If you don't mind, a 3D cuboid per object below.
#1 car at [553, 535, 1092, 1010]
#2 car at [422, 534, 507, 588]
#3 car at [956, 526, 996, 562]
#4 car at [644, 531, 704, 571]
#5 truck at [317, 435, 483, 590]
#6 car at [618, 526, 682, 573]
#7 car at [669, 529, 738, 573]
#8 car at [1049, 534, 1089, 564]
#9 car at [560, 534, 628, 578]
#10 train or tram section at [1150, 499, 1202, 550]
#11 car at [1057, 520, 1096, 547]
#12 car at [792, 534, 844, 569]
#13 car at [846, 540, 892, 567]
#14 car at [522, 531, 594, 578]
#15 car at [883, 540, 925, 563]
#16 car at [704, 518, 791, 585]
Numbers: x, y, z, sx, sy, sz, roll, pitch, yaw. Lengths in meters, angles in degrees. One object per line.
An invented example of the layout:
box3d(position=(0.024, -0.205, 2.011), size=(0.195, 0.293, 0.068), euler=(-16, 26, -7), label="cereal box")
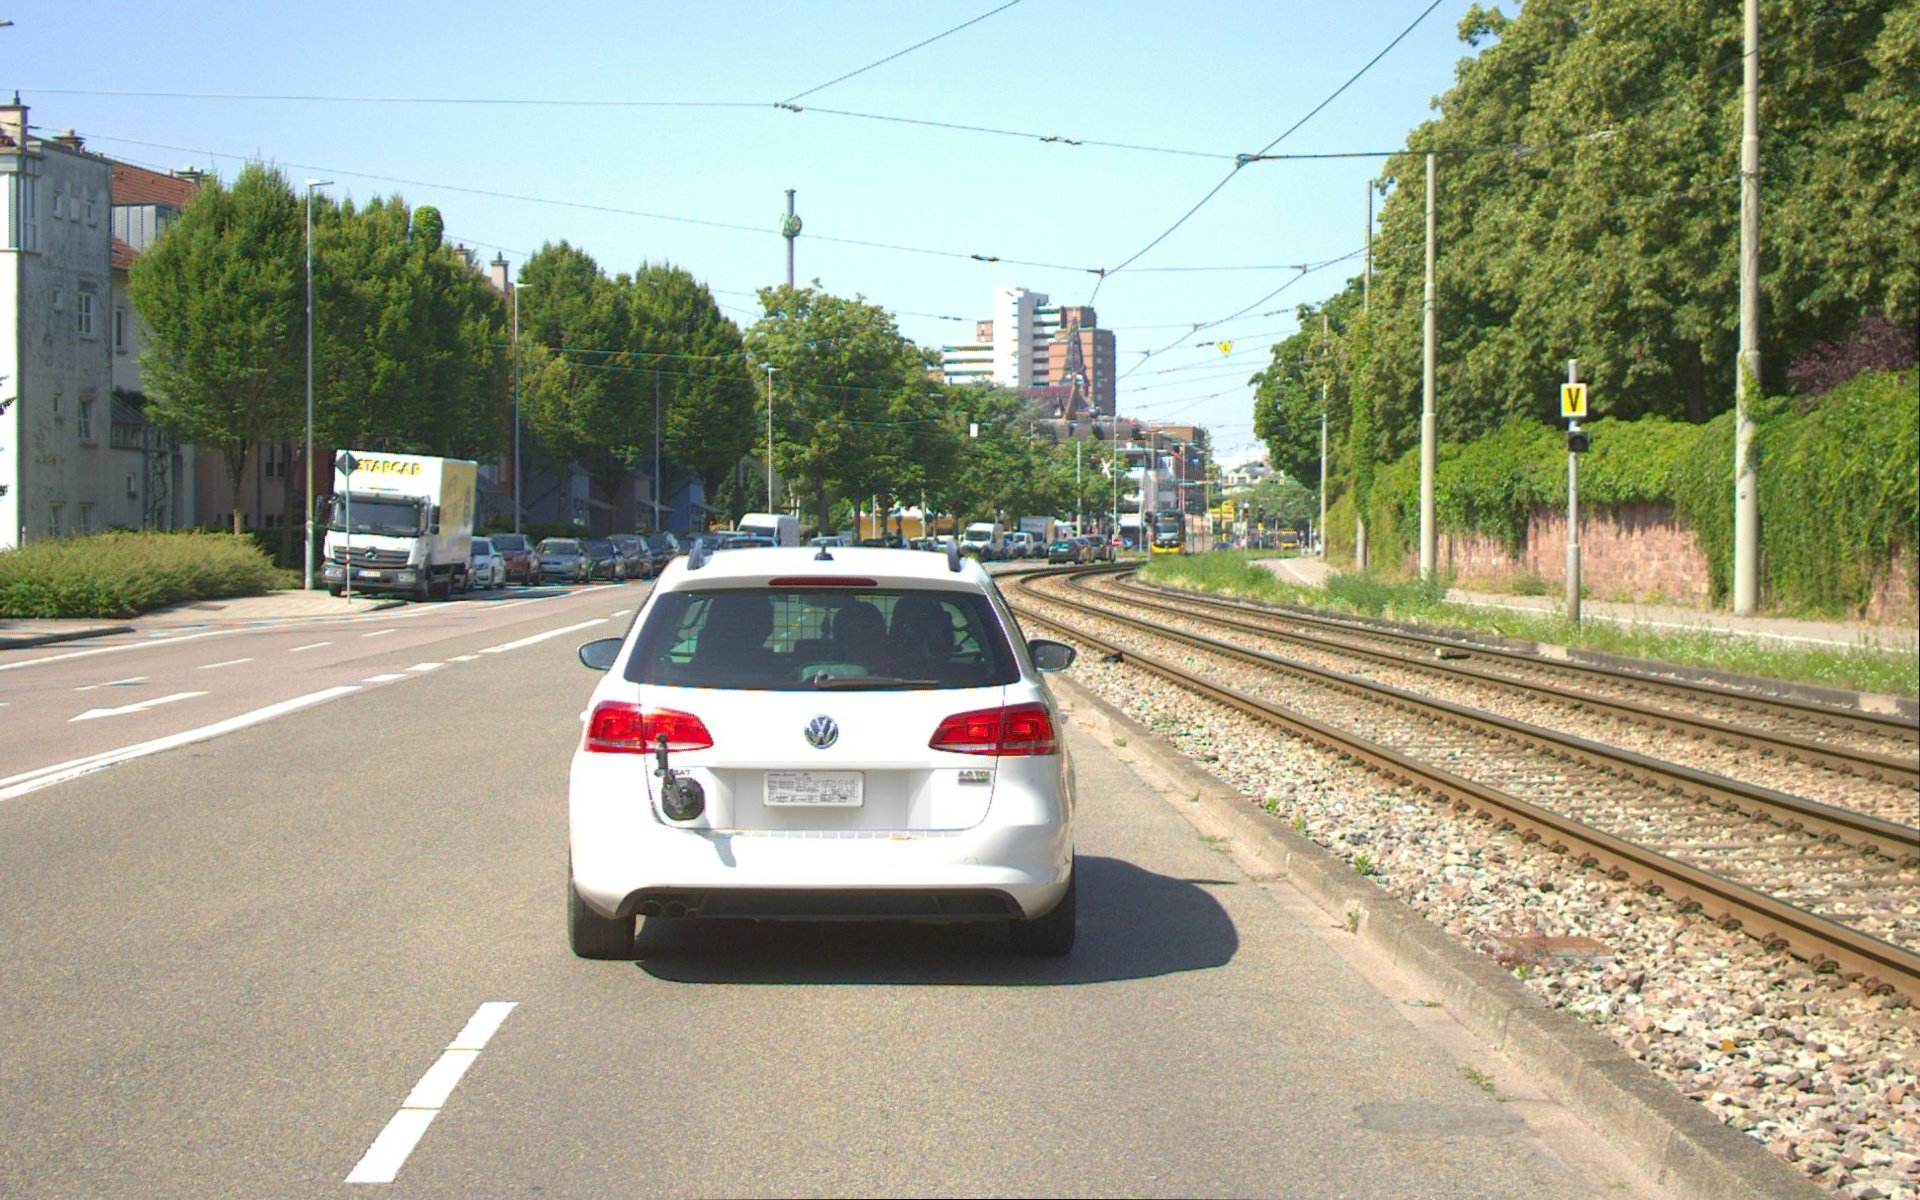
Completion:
box3d(position=(-0.495, 0.513, 13.224), size=(1.691, 1.446, 4.459), euler=(1, 2, -1), label="car")
box3d(position=(-13.894, -1.104, 96.553), size=(1.757, 1.424, 4.282), euler=(2, 1, -1), label="car")
box3d(position=(1.107, -3.803, 234.592), size=(1.881, 2.407, 5.114), euler=(0, 1, 11), label="car")
box3d(position=(-11.528, -1.976, 138.776), size=(1.690, 1.469, 4.048), euler=(3, 1, 5), label="car")
box3d(position=(-13.632, -2.128, 84.308), size=(2.667, 3.518, 8.591), euler=(2, 1, -1), label="truck")
box3d(position=(-12.004, -1.968, 133.313), size=(1.769, 1.717, 4.870), euler=(2, 1, 2), label="car")
box3d(position=(-10.720, -2.051, 143.878), size=(1.801, 1.718, 4.908), euler=(3, 1, 8), label="car")
box3d(position=(5.856, -2.748, 184.452), size=(1.801, 1.502, 3.999), euler=(1, 1, 7), label="car")
box3d(position=(-12.947, -1.562, 121.831), size=(1.723, 1.469, 4.715), euler=(2, 1, 2), label="car")
box3d(position=(16.481, -5.703, 261.239), size=(2.512, 3.734, 13.305), euler=(0, 1, 10), label="train or tram section")
box3d(position=(6.443, -3.687, 190.501), size=(1.801, 1.455, 3.999), euler=(1, 1, 7), label="car")
box3d(position=(-5.925, -2.042, 143.674), size=(1.659, 1.415, 4.309), euler=(-2, 1, 4), label="car")
box3d(position=(-4.983, -2.543, 187.861), size=(1.700, 1.412, 3.998), euler=(0, 1, 11), label="car")
box3d(position=(-13.456, -1.522, 115.238), size=(1.780, 1.478, 4.857), euler=(2, 1, 0), label="car")
box3d(position=(-3.267, -2.822, 200.639), size=(1.700, 1.347, 3.998), euler=(0, 1, 11), label="car")
box3d(position=(-5.144, -1.194, 83.601), size=(1.800, 1.502, 4.000), euler=(1, 2, 1), label="car")
